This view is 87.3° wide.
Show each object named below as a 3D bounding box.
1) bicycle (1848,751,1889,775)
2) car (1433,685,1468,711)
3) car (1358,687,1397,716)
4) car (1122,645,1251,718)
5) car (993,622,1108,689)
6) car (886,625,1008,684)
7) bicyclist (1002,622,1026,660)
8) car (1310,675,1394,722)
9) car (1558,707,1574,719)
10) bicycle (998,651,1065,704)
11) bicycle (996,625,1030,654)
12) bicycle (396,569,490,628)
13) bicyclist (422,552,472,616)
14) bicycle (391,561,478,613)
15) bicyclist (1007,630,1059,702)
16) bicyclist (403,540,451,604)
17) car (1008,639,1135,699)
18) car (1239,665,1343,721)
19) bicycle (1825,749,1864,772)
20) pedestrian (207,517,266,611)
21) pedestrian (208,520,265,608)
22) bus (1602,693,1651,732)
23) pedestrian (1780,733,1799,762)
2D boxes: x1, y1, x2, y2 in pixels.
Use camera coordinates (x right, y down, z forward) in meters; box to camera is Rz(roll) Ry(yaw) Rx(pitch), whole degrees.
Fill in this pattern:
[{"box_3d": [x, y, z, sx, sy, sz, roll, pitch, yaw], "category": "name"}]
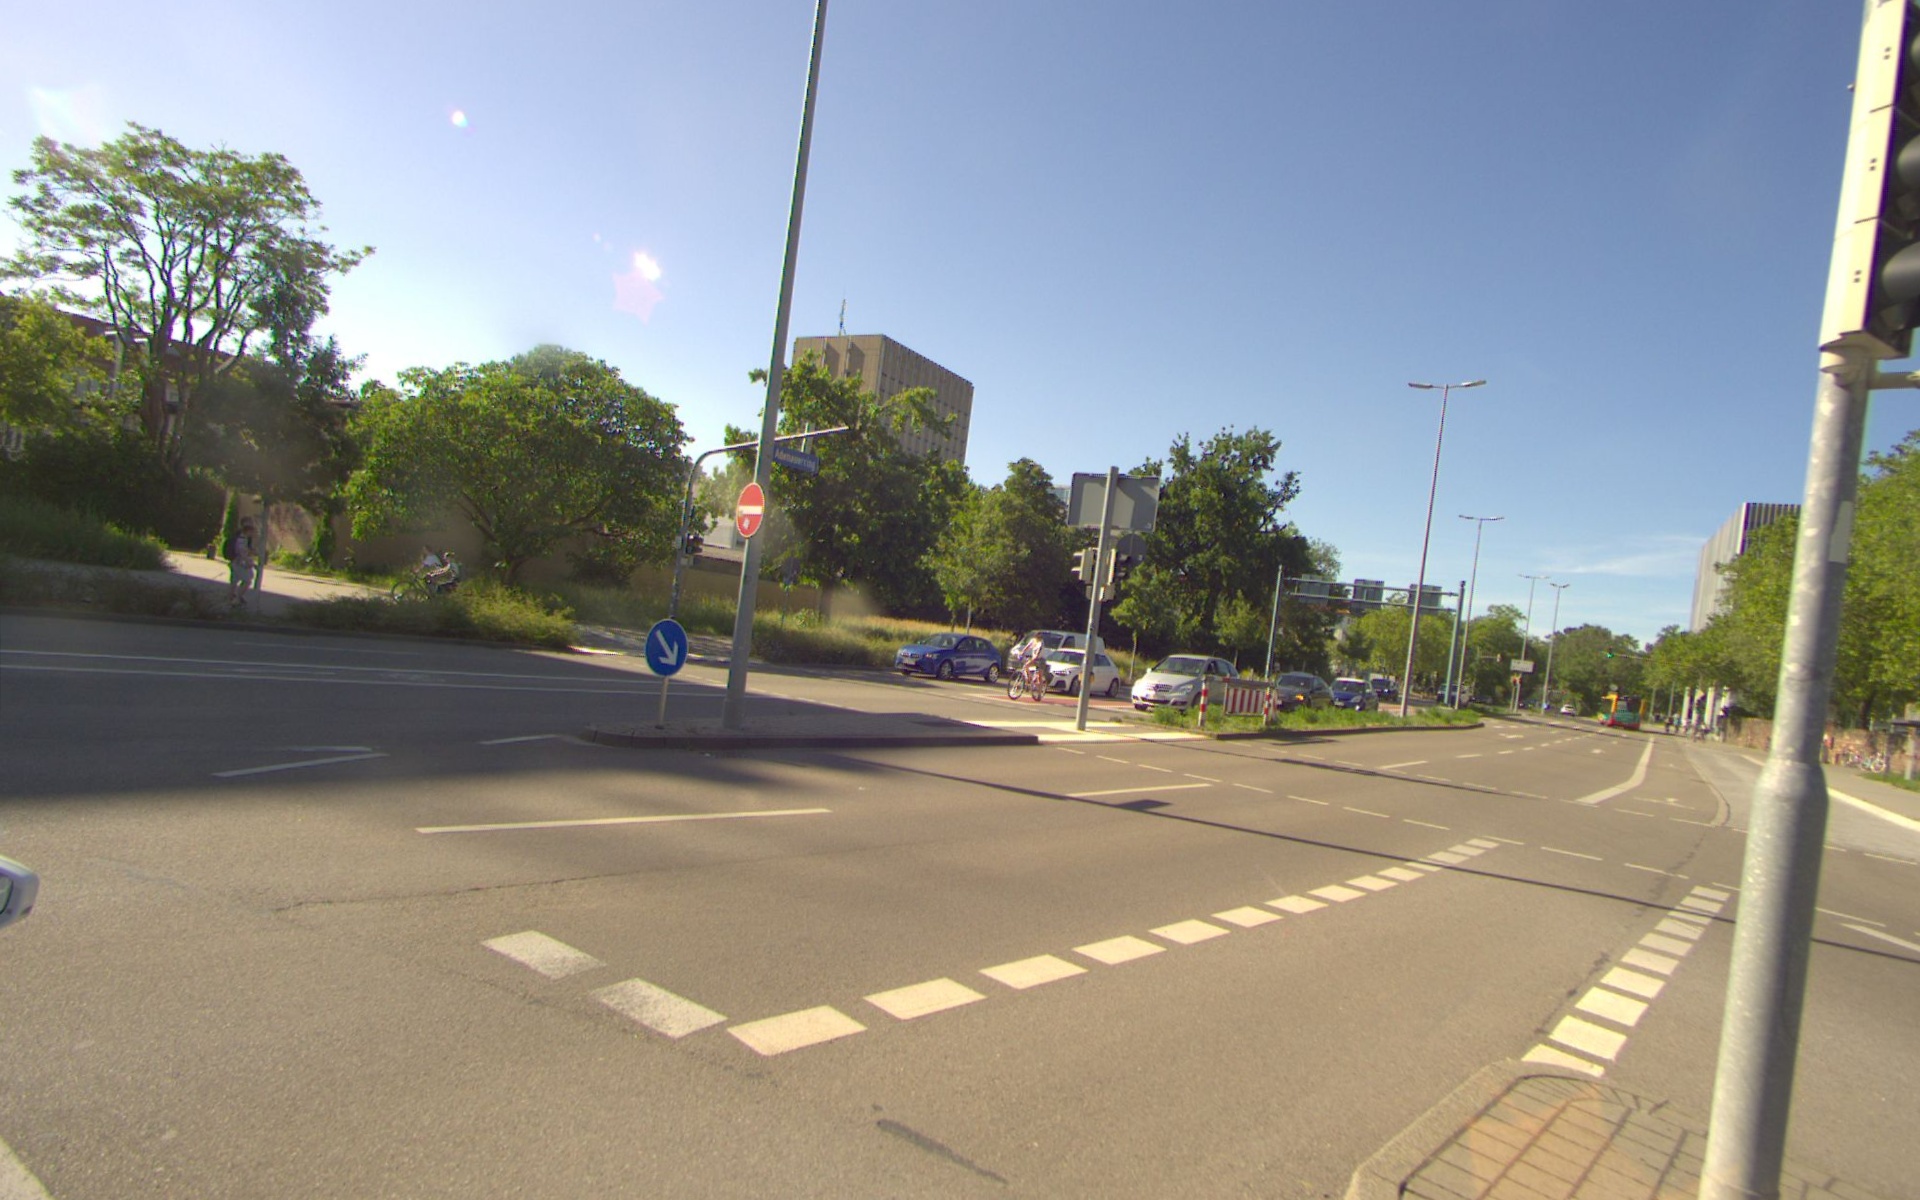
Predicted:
[{"box_3d": [50.435, 9.027, 55.857, 0.781, 1.088, 2.089, 8, -3, 17], "category": "bicycle"}, {"box_3d": [42.703, 8.552, 87.468, 1.909, 1.975, 4.521, 6, -2, 35], "category": "car"}, {"box_3d": [32.495, 7.886, 78.191, 1.908, 1.975, 4.749, 6, -2, 32], "category": "car"}, {"box_3d": [6.251, 2.266, 27.438, 1.762, 1.643, 4.304, 5, -2, 36], "category": "car"}, {"box_3d": [3.412, 2.087, 37.006, 1.909, 1.975, 4.744, 6, -2, 36], "category": "car"}, {"box_3d": [-0.338, 1.735, 31.536, 1.679, 1.458, 3.989, 5, -2, 36], "category": "car"}, {"box_3d": [2.522, 1.906, 47.186, 0.633, 1.665, 0.775, 8, 0, 33], "category": "bicyclist"}, {"box_3d": [15.894, 4.011, 40.652, 1.954, 1.572, 4.711, 5, -2, 36], "category": "car"}, {"box_3d": [93.384, 17.381, 154.989, 1.667, 1.611, 3.590, 6, -2, 35], "category": "car"}, {"box_3d": [1.826, 1.959, 25.411, 0.736, 1.180, 1.865, 8, 1, 34], "category": "bicycle"}, {"box_3d": [2.505, 1.876, 47.184, 0.632, 1.179, 1.867, 7, -1, 32], "category": "bicycle"}, {"box_3d": [-12.792, -0.045, 24.907, 1.838, 1.179, 0.642, 8, 1, -7], "category": "bicycle"}, {"box_3d": [-12.696, -0.397, 24.901, 0.763, 1.462, 0.642, 8, 2, -7], "category": "bicyclist"}, {"box_3d": [-14.529, -0.338, 27.861, 0.634, 1.180, 1.947, 11, 2, 43], "category": "bicycle"}, {"box_3d": [1.849, 1.662, 25.386, 0.734, 1.706, 0.975, 8, 1, 34], "category": "bicyclist"}, {"box_3d": [-14.646, -0.762, 27.647, 0.623, 1.616, 0.828, 11, 3, 43], "category": "bicyclist"}, {"box_3d": [3.571, 2.201, 31.797, 1.972, 1.486, 3.983, 7, -1, 41], "category": "car"}, {"box_3d": [11.477, 3.230, 34.633, 1.954, 1.572, 4.711, 5, -2, 36], "category": "car"}, {"box_3d": [51.061, 9.246, 58.112, 0.781, 1.088, 2.089, 8, -3, 17], "category": "bicycle"}, {"box_3d": [-15.123, -0.747, 21.026, 0.731, 1.836, 0.723, 10, -2, -40], "category": "pedestrian"}, {"box_3d": [-15.724, -0.785, 21.865, 0.731, 1.801, 0.723, 10, -2, -40], "category": "pedestrian"}, {"box_3d": [65.798, 11.153, 99.454, 2.936, 3.308, 6.258, 8, -3, 27], "category": "bus"}, {"box_3d": [50.118, 8.907, 60.792, 0.642, 1.629, 0.558, 7, -2, 31], "category": "pedestrian"}]
